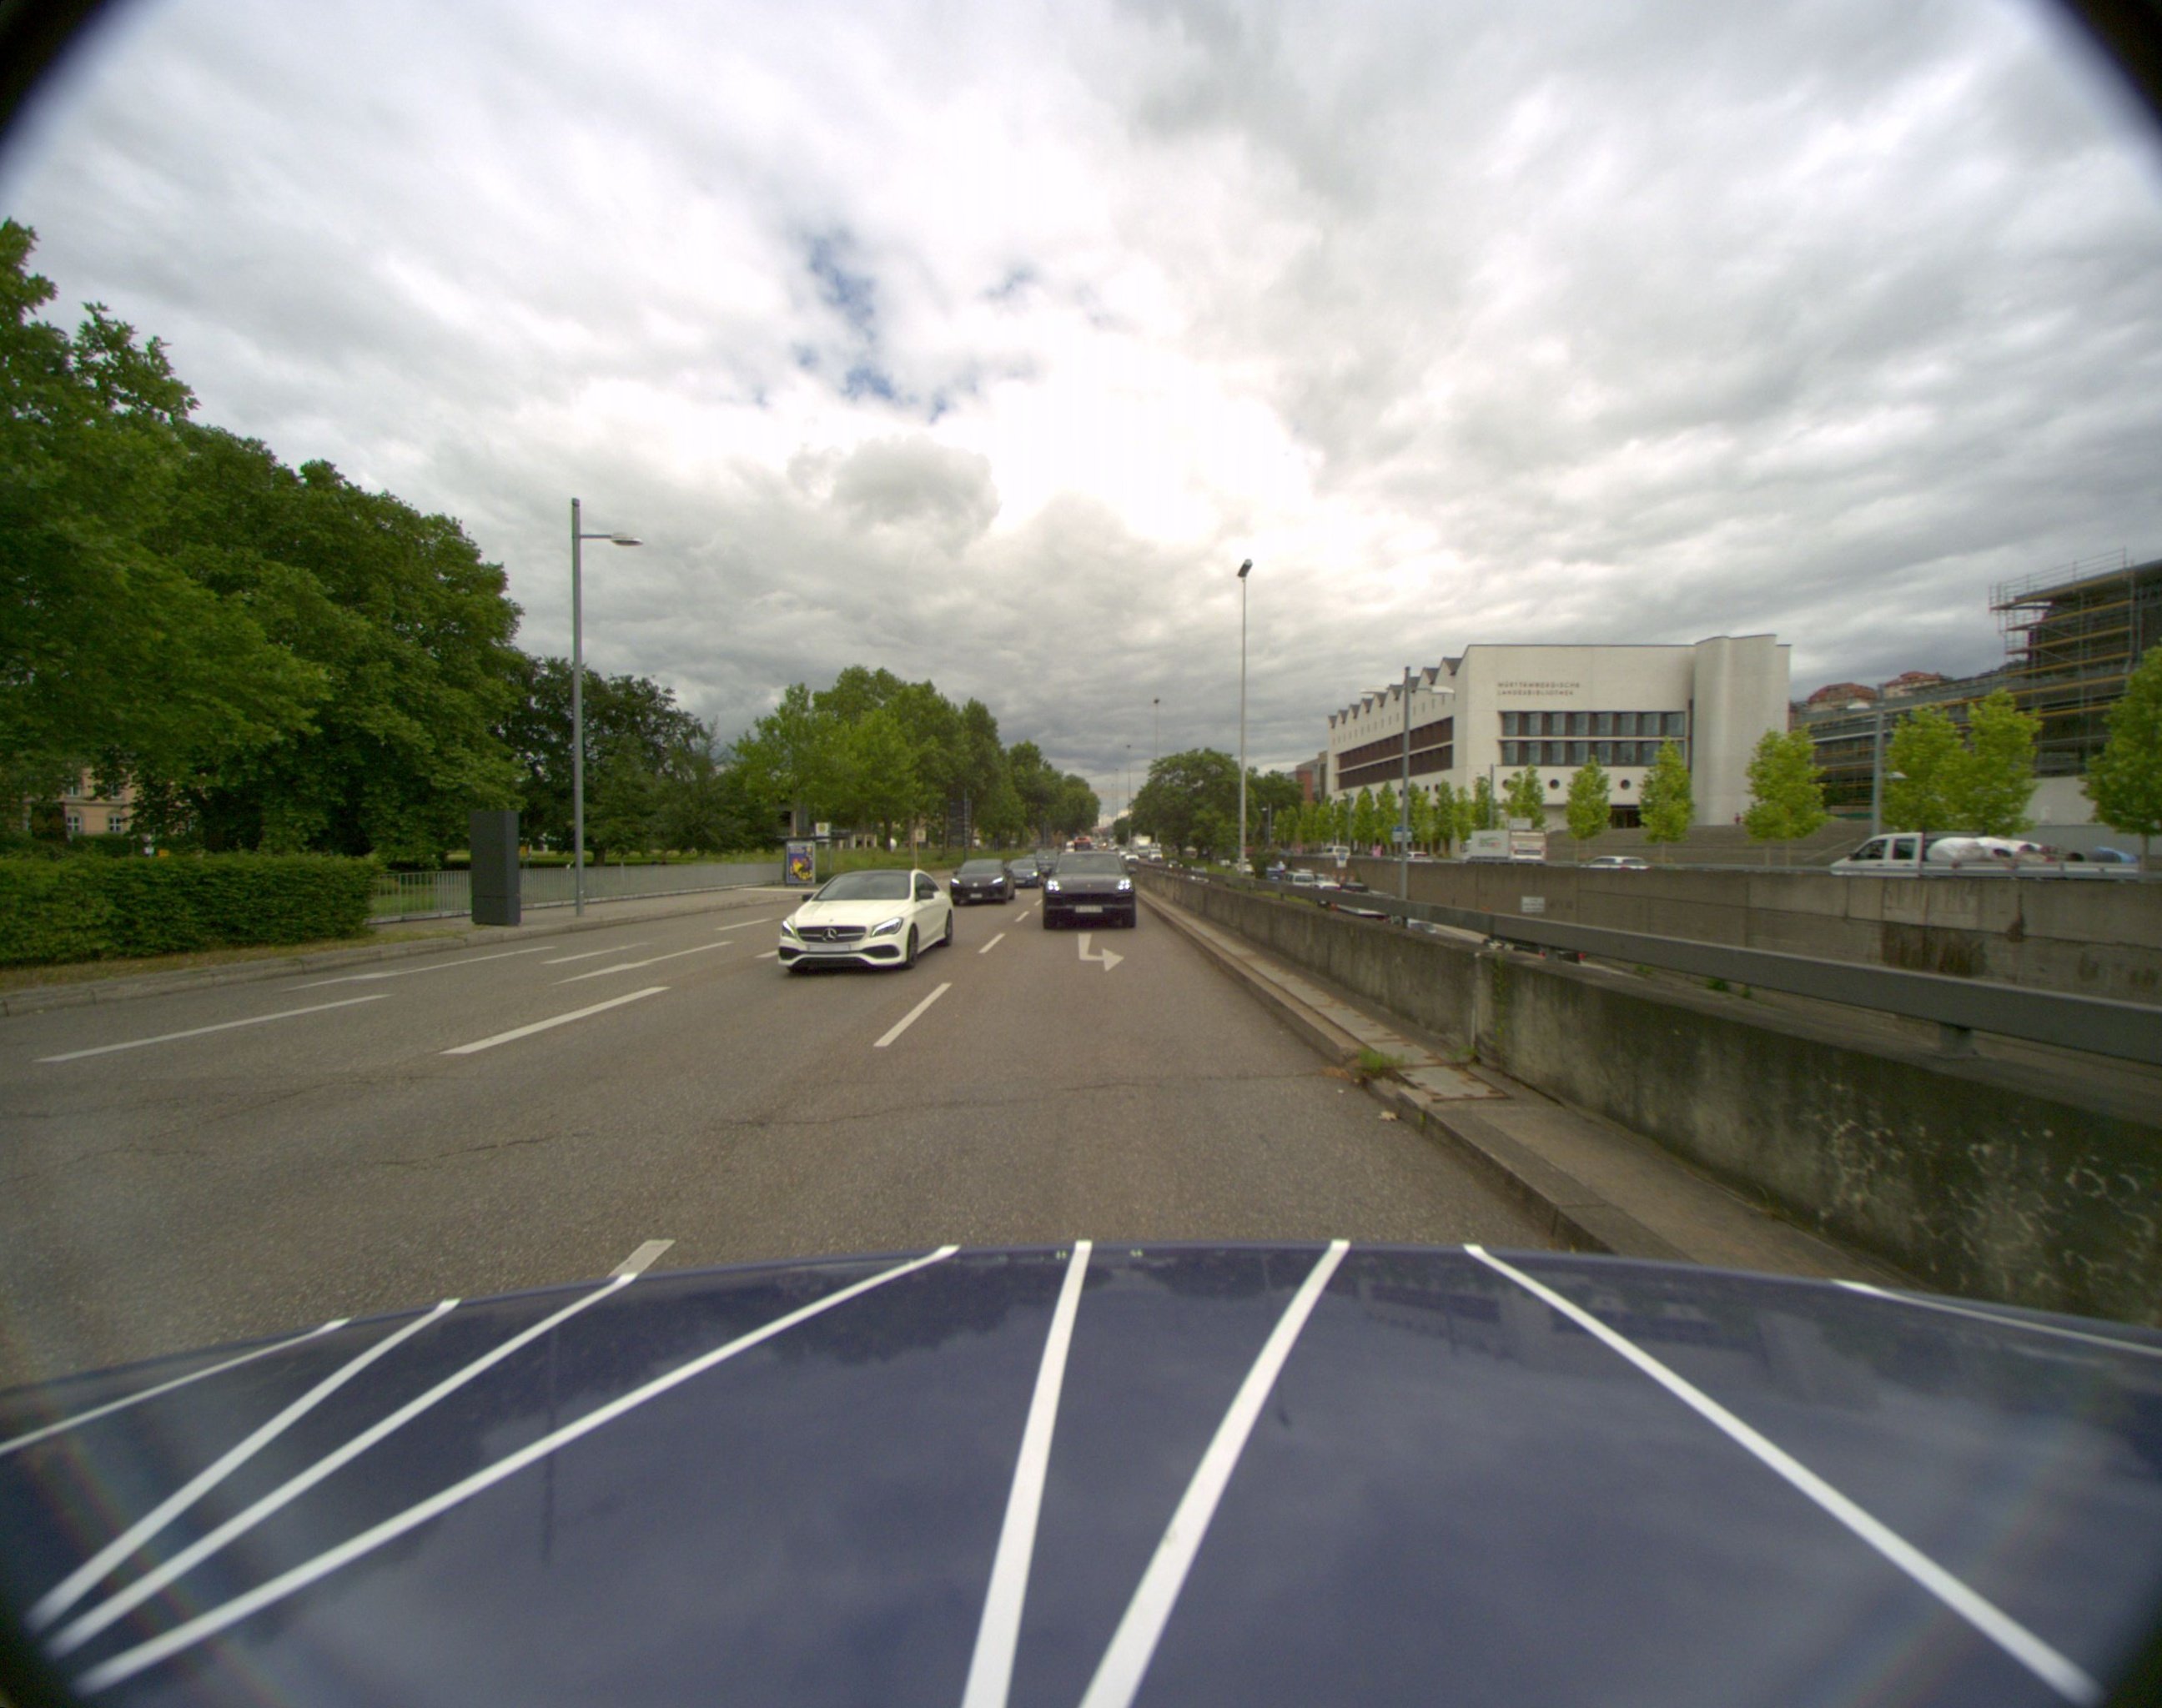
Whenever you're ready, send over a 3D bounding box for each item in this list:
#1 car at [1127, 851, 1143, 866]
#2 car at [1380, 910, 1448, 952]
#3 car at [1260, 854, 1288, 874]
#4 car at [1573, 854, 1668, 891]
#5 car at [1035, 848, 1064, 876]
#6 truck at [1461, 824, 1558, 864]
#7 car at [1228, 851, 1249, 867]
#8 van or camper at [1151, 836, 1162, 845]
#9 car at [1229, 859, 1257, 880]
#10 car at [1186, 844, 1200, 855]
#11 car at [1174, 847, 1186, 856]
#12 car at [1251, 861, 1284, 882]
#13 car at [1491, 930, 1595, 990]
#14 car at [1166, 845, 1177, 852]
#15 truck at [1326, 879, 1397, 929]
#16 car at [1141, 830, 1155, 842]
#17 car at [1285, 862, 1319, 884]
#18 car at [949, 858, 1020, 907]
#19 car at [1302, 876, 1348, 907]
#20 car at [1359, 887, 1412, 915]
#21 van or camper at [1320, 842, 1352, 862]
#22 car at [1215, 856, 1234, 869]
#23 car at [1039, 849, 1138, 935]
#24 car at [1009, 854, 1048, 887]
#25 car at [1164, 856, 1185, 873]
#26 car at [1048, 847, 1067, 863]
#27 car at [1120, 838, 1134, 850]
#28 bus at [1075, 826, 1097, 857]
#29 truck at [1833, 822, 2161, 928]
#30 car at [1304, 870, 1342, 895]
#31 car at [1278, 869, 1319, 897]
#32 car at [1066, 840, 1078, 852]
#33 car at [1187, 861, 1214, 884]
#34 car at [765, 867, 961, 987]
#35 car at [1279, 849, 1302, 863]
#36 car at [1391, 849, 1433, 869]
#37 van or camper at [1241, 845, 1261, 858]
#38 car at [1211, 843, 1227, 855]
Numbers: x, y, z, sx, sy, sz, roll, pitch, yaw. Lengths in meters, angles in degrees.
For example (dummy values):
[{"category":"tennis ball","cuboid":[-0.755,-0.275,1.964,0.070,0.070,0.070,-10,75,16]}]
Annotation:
[{"category":"car","cuboid":[7.577,0.623,106.118,1.998,2.002,4.000,0,0,0]},{"category":"car","cuboid":[17.323,3.982,39.724,1.794,1.805,3.927,-1,0,0]},{"category":"car","cuboid":[20.461,1.047,80.672,1.998,2.002,4.000,3,0,1]},{"category":"car","cuboid":[28.290,0.956,40.024,1.998,1.805,4.258,-1,0,1]},{"category":"car","cuboid":[-2.100,0.498,52.321,1.723,1.851,4.430,-1,1,1]},{"category":"truck","cuboid":[31.640,-0.682,56.510,3.239,2.771,7.254,-1,0,1]},{"category":"car","cuboid":[21.656,0.686,104.567,1.998,2.002,4.655,-1,0,1]},{"category":"van or camper","cuboid":[16.995,-3.009,170.933,2.036,2.002,4.000,-1,0,1]},{"category":"car","cuboid":[17.695,1.655,83.171,1.998,2.119,4.852,3,0,1]},{"category":"car","cuboid":[20.623,-0.792,140.136,1.998,2.002,3.999,-2,1,0]},{"category":"car","cuboid":[16.818,-0.469,129.394,1.675,1.477,3.361,-1,0,1]},{"category":"car","cuboid":[17.271,1.621,70.499,1.998,1.733,4.281,3,0,1]},{"category":"car","cuboid":[20.222,4.592,33.517,1.998,1.944,4.229,-2,1,0]},{"category":"car","cuboid":[18.130,-1.064,152.421,1.675,1.477,3.361,-1,0,1]},{"category":"truck","cuboid":[17.302,3.027,47.245,2.324,2.675,5.979,-1,0,1]},{"category":"car","cuboid":[11.048,-2.960,125.484,1.997,2.002,4.002,-2,1,9]},{"category":"car","cuboid":[21.012,1.776,72.388,1.998,2.002,4.000,3,0,1]},{"category":"car","cuboid":[-3.224,0.907,26.136,1.830,1.515,4.120,-1,0,1]},{"category":"car","cuboid":[17.564,2.667,54.821,1.998,2.002,4.000,3,0,1]},{"category":"car","cuboid":[20.696,3.168,51.741,1.998,1.543,4.000,-2,0,0]},{"category":"van or camper","cuboid":[27.219,-0.213,81.278,1.998,2.002,4.557,-1,0,1]},{"category":"car","cuboid":[17.679,1.061,93.838,1.675,1.477,3.361,0,1,1]},{"category":"car","cuboid":[0.183,0.752,17.457,1.937,1.668,4.679,-1,0,1]},{"category":"car","cuboid":[-2.613,0.817,38.749,1.573,1.528,4.001,-1,1,2]},{"category":"car","cuboid":[10.885,1.203,88.748,1.998,2.002,4.000,-1,0,0]},{"category":"car","cuboid":[-2.168,0.084,71.242,1.565,1.409,3.619,-1,0,1]},{"category":"car","cuboid":[7.620,-1.608,126.042,1.998,2.002,4.000,0,0,0]},{"category":"bus","cuboid":[0.700,-1.748,111.936,3.043,4.327,8.748,-1,1,0]},{"category":"truck","cuboid":[28.235,0.586,23.820,2.470,2.800,7.079,-1,0,2]},{"category":"car","cuboid":[21.214,2.478,66.734,1.998,2.002,4.000,3,0,1]},{"category":"car","cuboid":[17.594,2.293,61.713,1.998,2.002,4.333,3,0,1]},{"category":"car","cuboid":[-1.603,-1.400,133.533,1.999,2.002,3.999,-2,1,0]},{"category":"car","cuboid":[11.499,1.794,73.592,1.998,2.002,3.999,1,2,1]},{"category":"car","cuboid":[-3.185,0.985,12.105,1.723,1.415,4.505,-1,1,1]},{"category":"car","cuboid":[27.475,0.279,99.849,1.998,1.805,4.000,-1,0,1]},{"category":"car","cuboid":[27.576,0.418,63.371,1.723,1.565,4.271,-1,0,2]},{"category":"van or camper","cuboid":[26.152,-0.381,117.124,1.999,2.002,4.556,-1,0,-1]},{"category":"car","cuboid":[23.292,-0.795,128.606,1.998,2.002,4.000,3,0,1]}]
